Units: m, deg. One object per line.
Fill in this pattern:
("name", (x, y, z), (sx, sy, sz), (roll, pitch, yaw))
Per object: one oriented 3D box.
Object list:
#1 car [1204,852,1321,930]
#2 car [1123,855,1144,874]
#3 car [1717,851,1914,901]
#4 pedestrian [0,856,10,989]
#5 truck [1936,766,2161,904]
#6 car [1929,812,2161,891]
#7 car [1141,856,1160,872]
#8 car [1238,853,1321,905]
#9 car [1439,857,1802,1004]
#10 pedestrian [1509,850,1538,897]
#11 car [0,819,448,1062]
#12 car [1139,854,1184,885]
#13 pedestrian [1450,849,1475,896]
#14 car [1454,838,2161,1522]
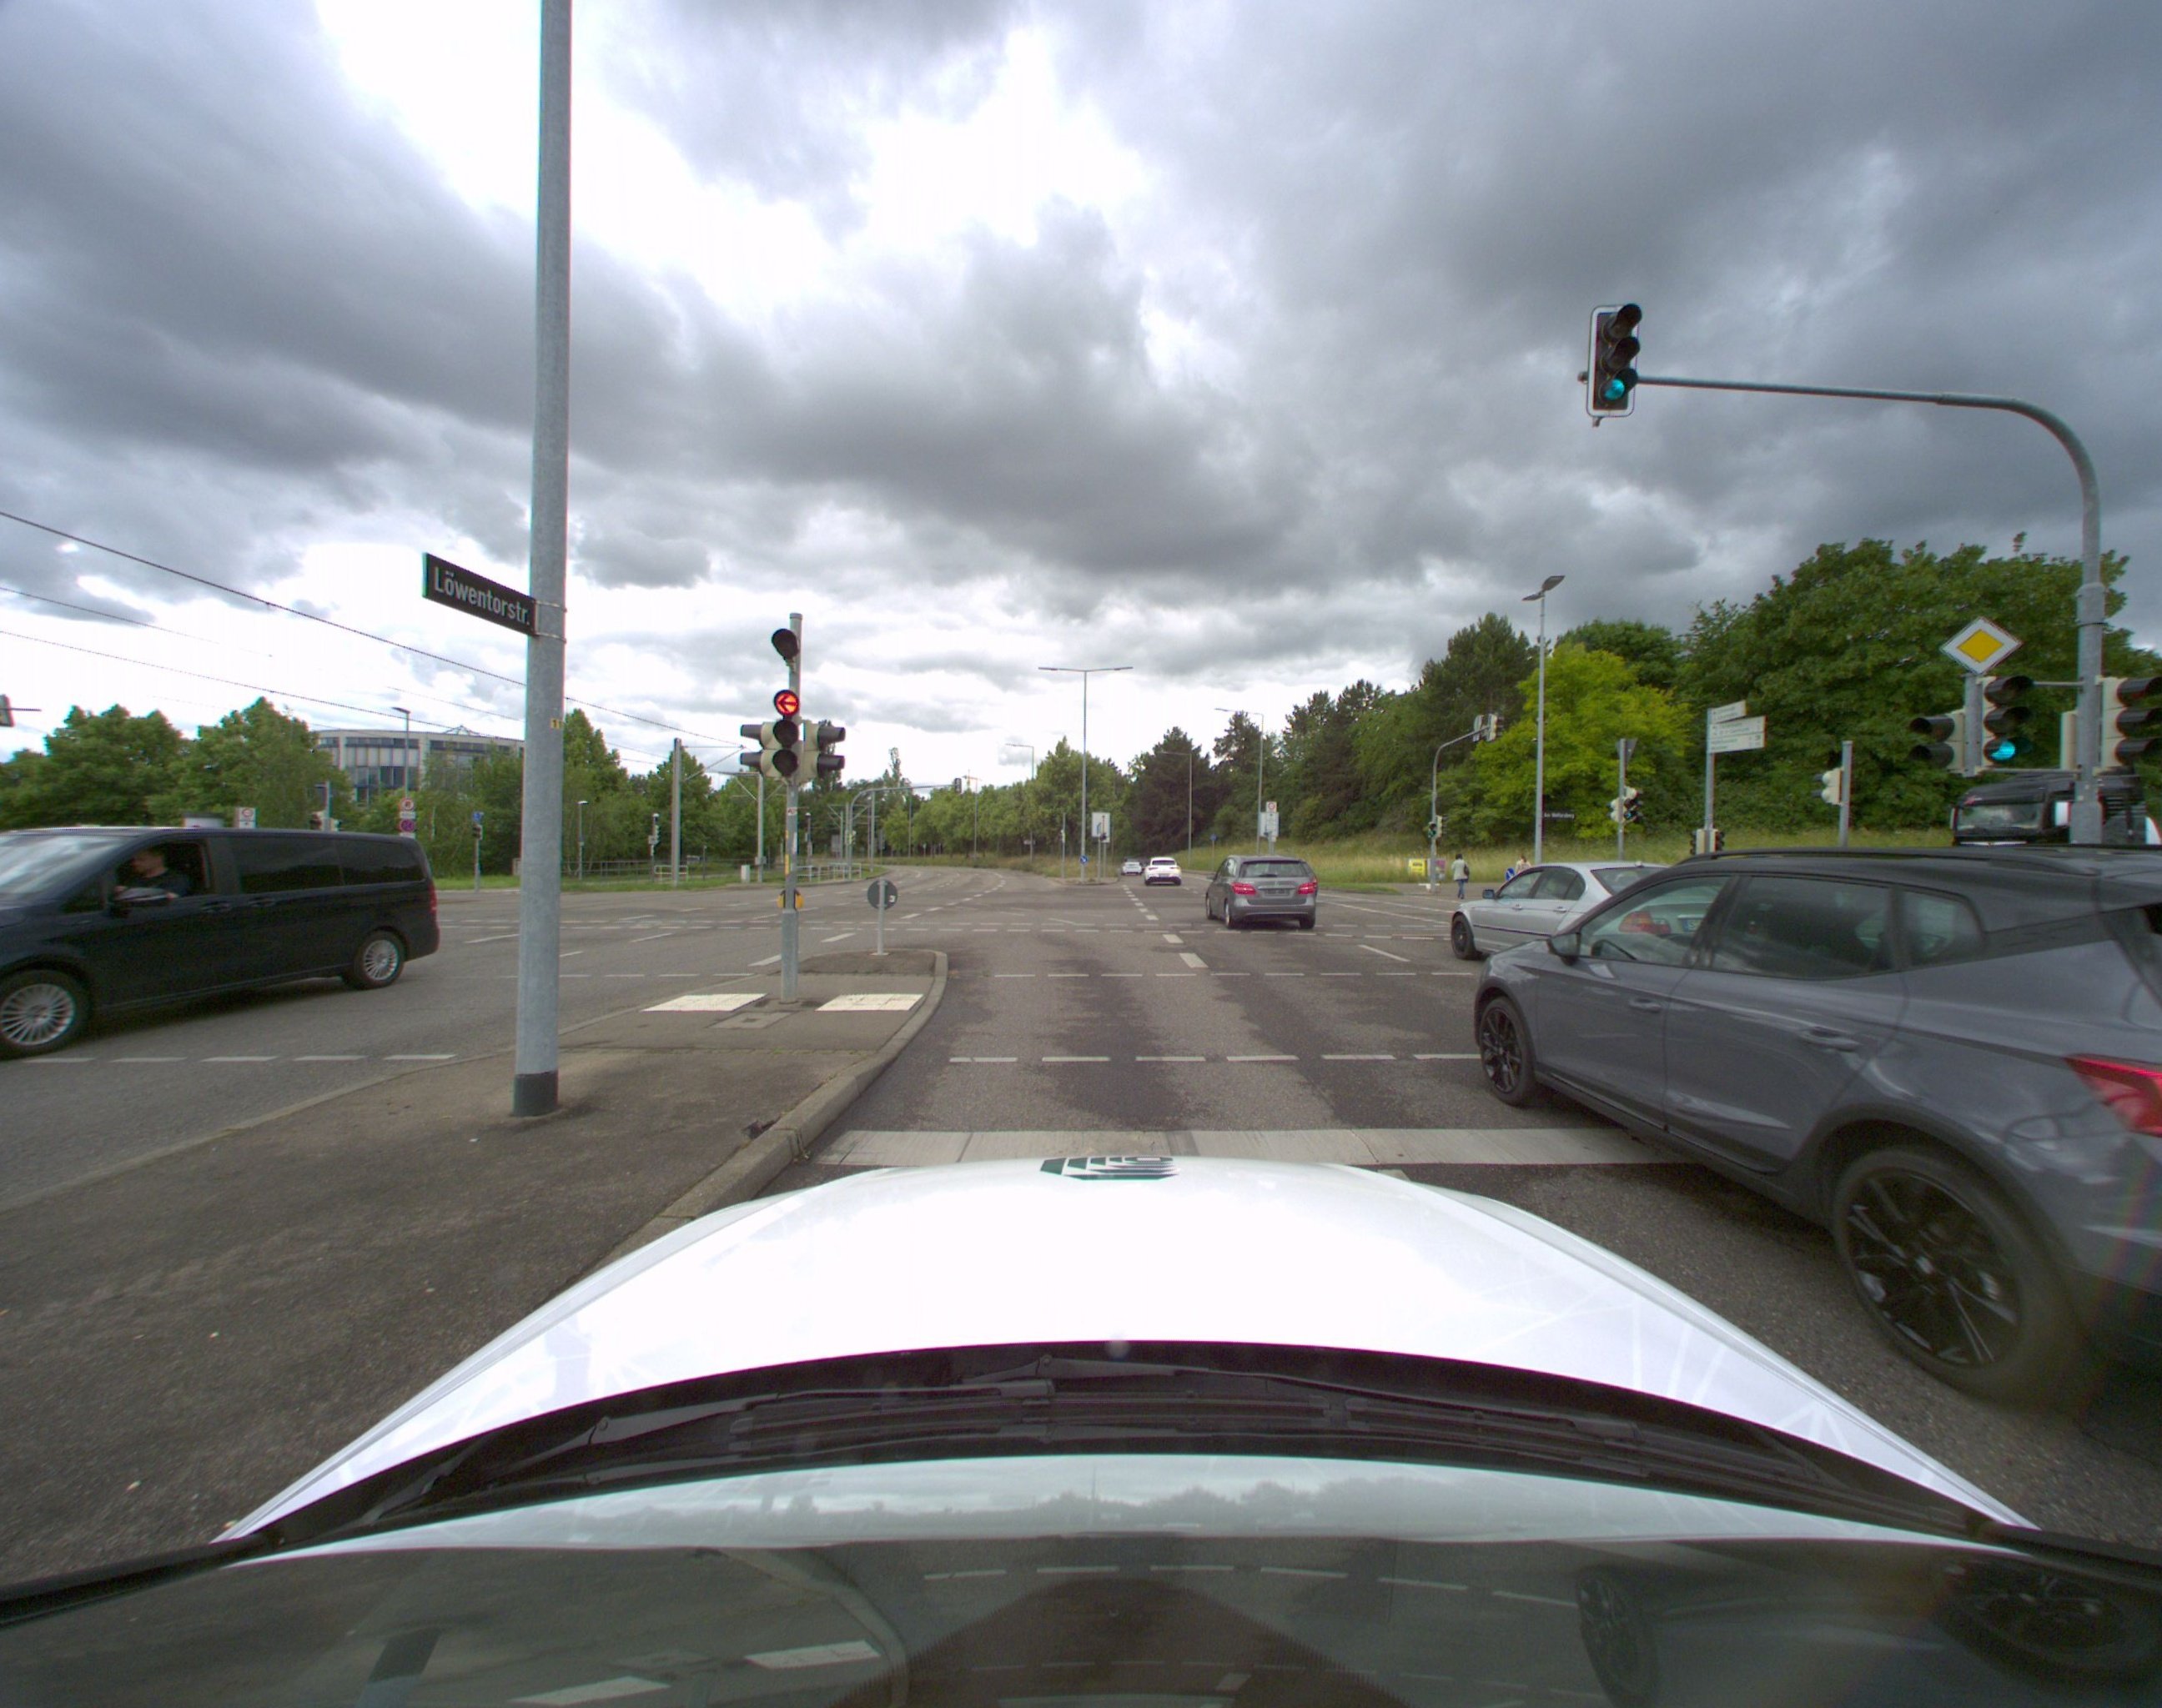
("car", (3.825, 0.717, 17.846), (1.740, 1.508, 4.049), (0, 0, 1))
("car", (4.293, 0.862, 67.131), (1.586, 1.516, 2.767), (0, -1, 1))
("car", (20.384, 0.604, 22.733), (3.859, 1.338, 1.698), (0, -1, 4))
("pedestrian", (-12.848, 0.794, 9.151), (0.632, 1.536, 0.719), (0, -1, -2))
("truck", (27.948, -0.504, 22.284), (5.971, 3.486, 2.694), (-1, -1, 4))
("car", (33.751, -0.084, 28.531), (5.780, 2.630, 2.002), (0, -1, 3))
("car", (6.566, 0.937, 76.976), (1.607, 1.453, 3.883), (0, -1, 2))
("car", (6.263, 0.737, 26.182), (1.740, 1.485, 4.358), (0, 1, 2))
("car", (6.168, 0.745, 10.039), (1.740, 1.382, 4.292), (0, 0, 2))
("pedestrian", (15.307, 0.669, 28.171), (0.640, 1.612, 0.715), (0, -1, 7))
("car", (-9.097, 0.667, 8.036), (1.883, 1.812, 5.087), (-1, 0, -3))
("car", (4.159, 0.794, 42.580), (1.838, 1.506, 4.529), (0, -1, -1))
("pedestrian", (13.802, 0.660, 29.457), (0.640, 1.662, 0.715), (0, -1, 8))
("car", (3.247, 0.684, 3.546), (1.618, 1.493, 3.840), (0, 1, 2))
